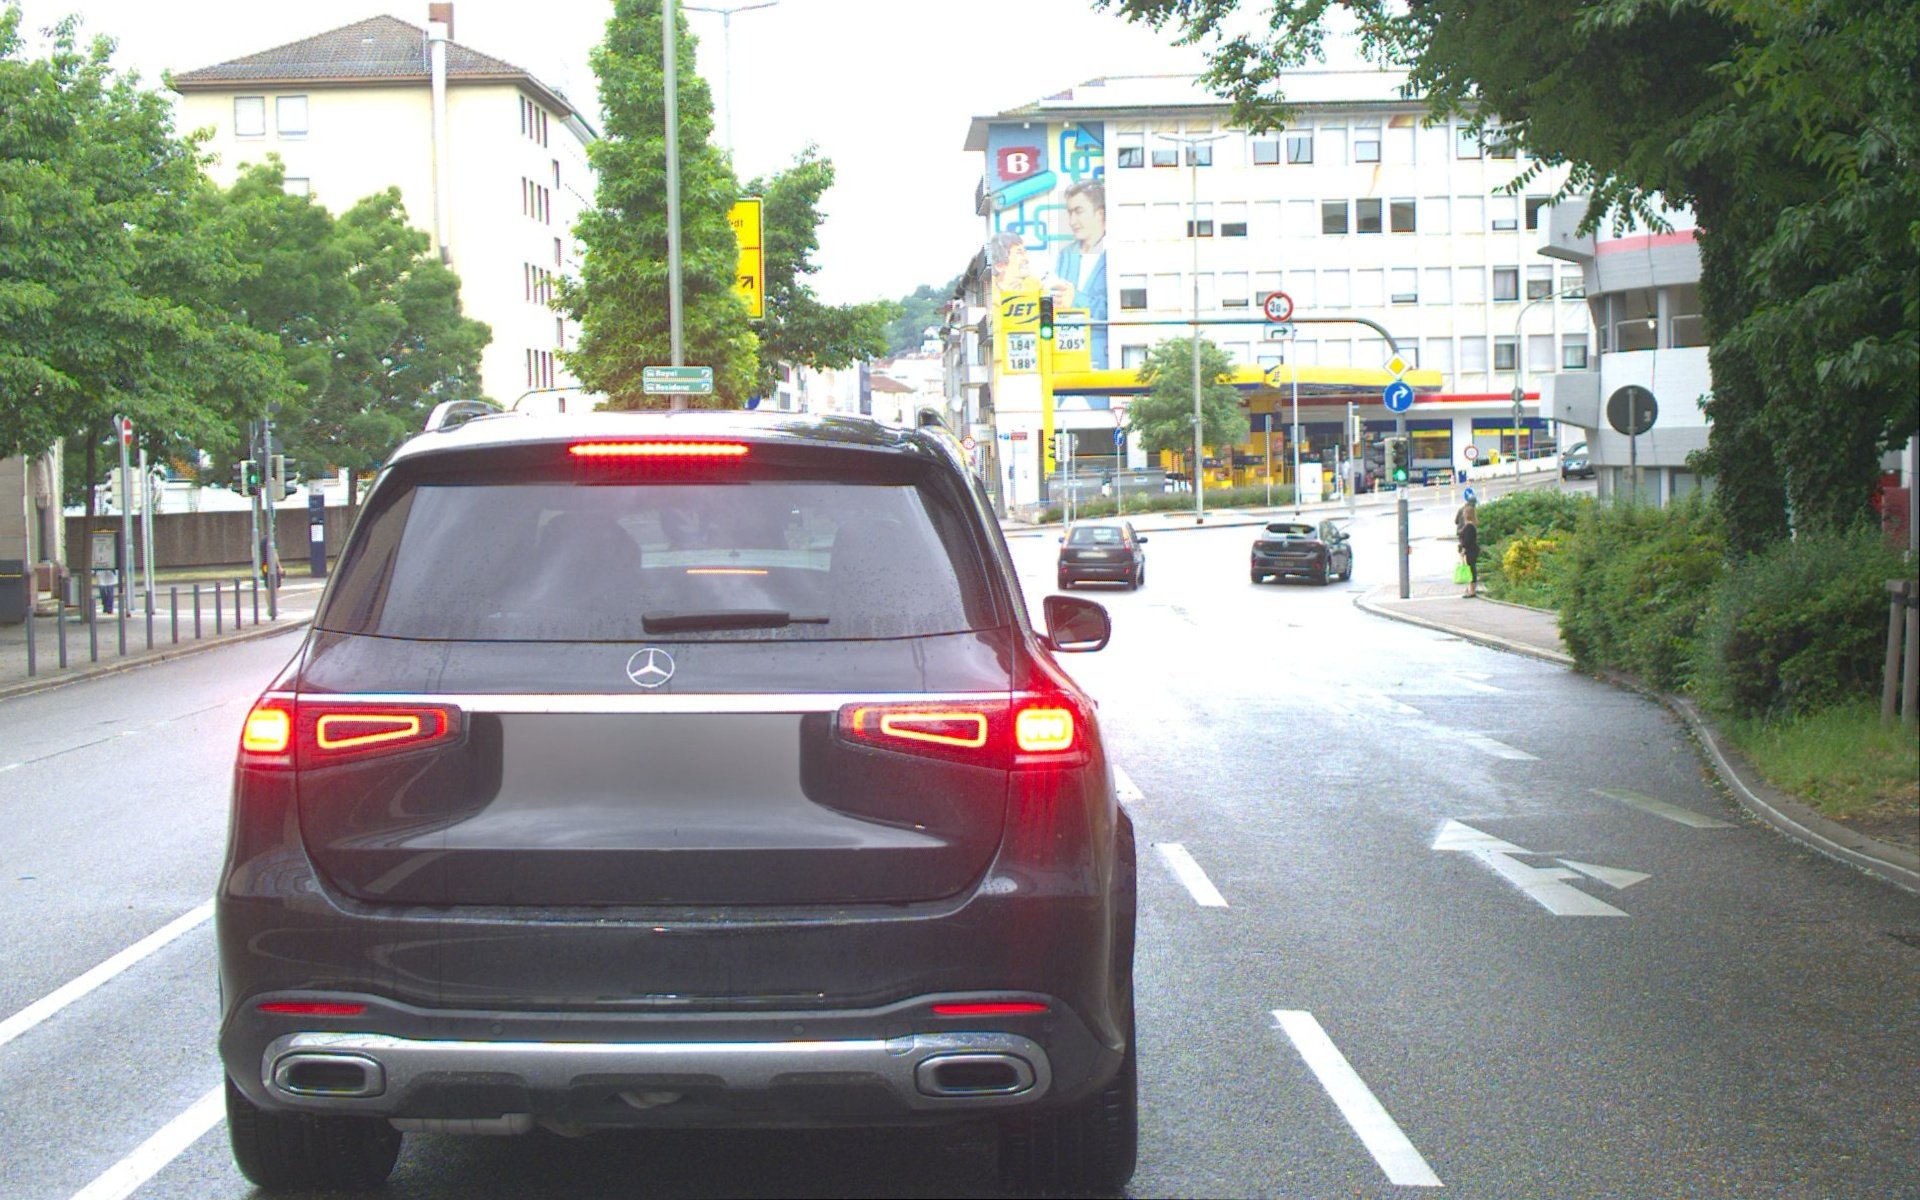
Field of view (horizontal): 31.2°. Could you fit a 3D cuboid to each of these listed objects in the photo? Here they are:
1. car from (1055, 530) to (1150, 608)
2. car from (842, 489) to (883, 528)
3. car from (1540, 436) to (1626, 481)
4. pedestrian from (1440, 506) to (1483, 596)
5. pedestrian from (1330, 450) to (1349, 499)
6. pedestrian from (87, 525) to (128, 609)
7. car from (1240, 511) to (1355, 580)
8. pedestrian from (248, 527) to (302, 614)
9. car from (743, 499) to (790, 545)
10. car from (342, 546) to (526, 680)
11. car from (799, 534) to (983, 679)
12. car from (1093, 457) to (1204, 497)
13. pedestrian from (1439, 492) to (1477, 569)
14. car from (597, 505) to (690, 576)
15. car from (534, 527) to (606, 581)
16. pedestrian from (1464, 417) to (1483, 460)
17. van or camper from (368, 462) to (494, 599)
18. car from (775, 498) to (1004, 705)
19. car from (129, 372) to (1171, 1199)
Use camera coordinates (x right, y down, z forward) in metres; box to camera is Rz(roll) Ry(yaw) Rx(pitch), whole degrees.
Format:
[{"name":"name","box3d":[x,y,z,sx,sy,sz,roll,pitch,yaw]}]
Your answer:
[{"name":"car","box3d":[3.032,-0.678,72.570,1.796,1.520,4.055,1,2,5]},{"name":"car","box3d":[-5.191,-4.870,183.595,1.993,2.007,4.000,1,1,0]},{"name":"car","box3d":[25.082,-5.691,138.349,1.997,1.700,3.993,0,2,33]},{"name":"pedestrian","box3d":[9.519,-0.932,65.285,0.646,1.704,0.470,1,0,36]},{"name":"pedestrian","box3d":[13.249,-4.393,120.068,0.572,1.691,0.631,1,0,1]},{"name":"pedestrian","box3d":[-17.090,-0.658,68.912,0.642,1.660,1.019,1,0,-6]},{"name":"car","box3d":[7.553,-1.197,76.631,1.947,1.481,3.997,1,1,14]},{"name":"pedestrian","box3d":[-13.505,-0.577,67.767,0.946,1.699,0.713,1,0,-17]},{"name":"car","box3d":[-8.086,-3.242,143.855,1.868,1.833,3.820,1,1,-2]},{"name":"car","box3d":[-6.341,0.123,41.797,1.741,1.465,3.883,-3,1,-3]},{"name":"car","box3d":[-0.741,0.048,37.995,1.907,1.496,4.000,1,1,-1]},{"name":"car","box3d":[7.048,-4.607,128.524,1.732,1.371,3.998,-4,3,-44]},{"name":"pedestrian","box3d":[11.062,-1.539,76.304,0.717,1.684,0.456,1,0,-6]},{"name":"car","box3d":[-7.237,-1.368,79.012,1.883,1.492,4.563,-2,1,-3]},{"name":"car","box3d":[-11.039,-1.303,97.514,1.797,1.489,3.804,1,1,-3]},{"name":"pedestrian","box3d":[20.413,-6.420,136.700,0.526,1.721,0.688,0,2,26]},{"name":"van or camper","box3d":[-10.659,-1.398,69.621,2.101,2.573,5.909,-3,1,-6]},{"name":"car","box3d":[-0.642,-0.009,32.232,1.993,1.794,4.000,1,1,-1]},{"name":"car","box3d":[-0.623,0.449,8.648,1.993,1.794,4.000,1,1,-1]}]
